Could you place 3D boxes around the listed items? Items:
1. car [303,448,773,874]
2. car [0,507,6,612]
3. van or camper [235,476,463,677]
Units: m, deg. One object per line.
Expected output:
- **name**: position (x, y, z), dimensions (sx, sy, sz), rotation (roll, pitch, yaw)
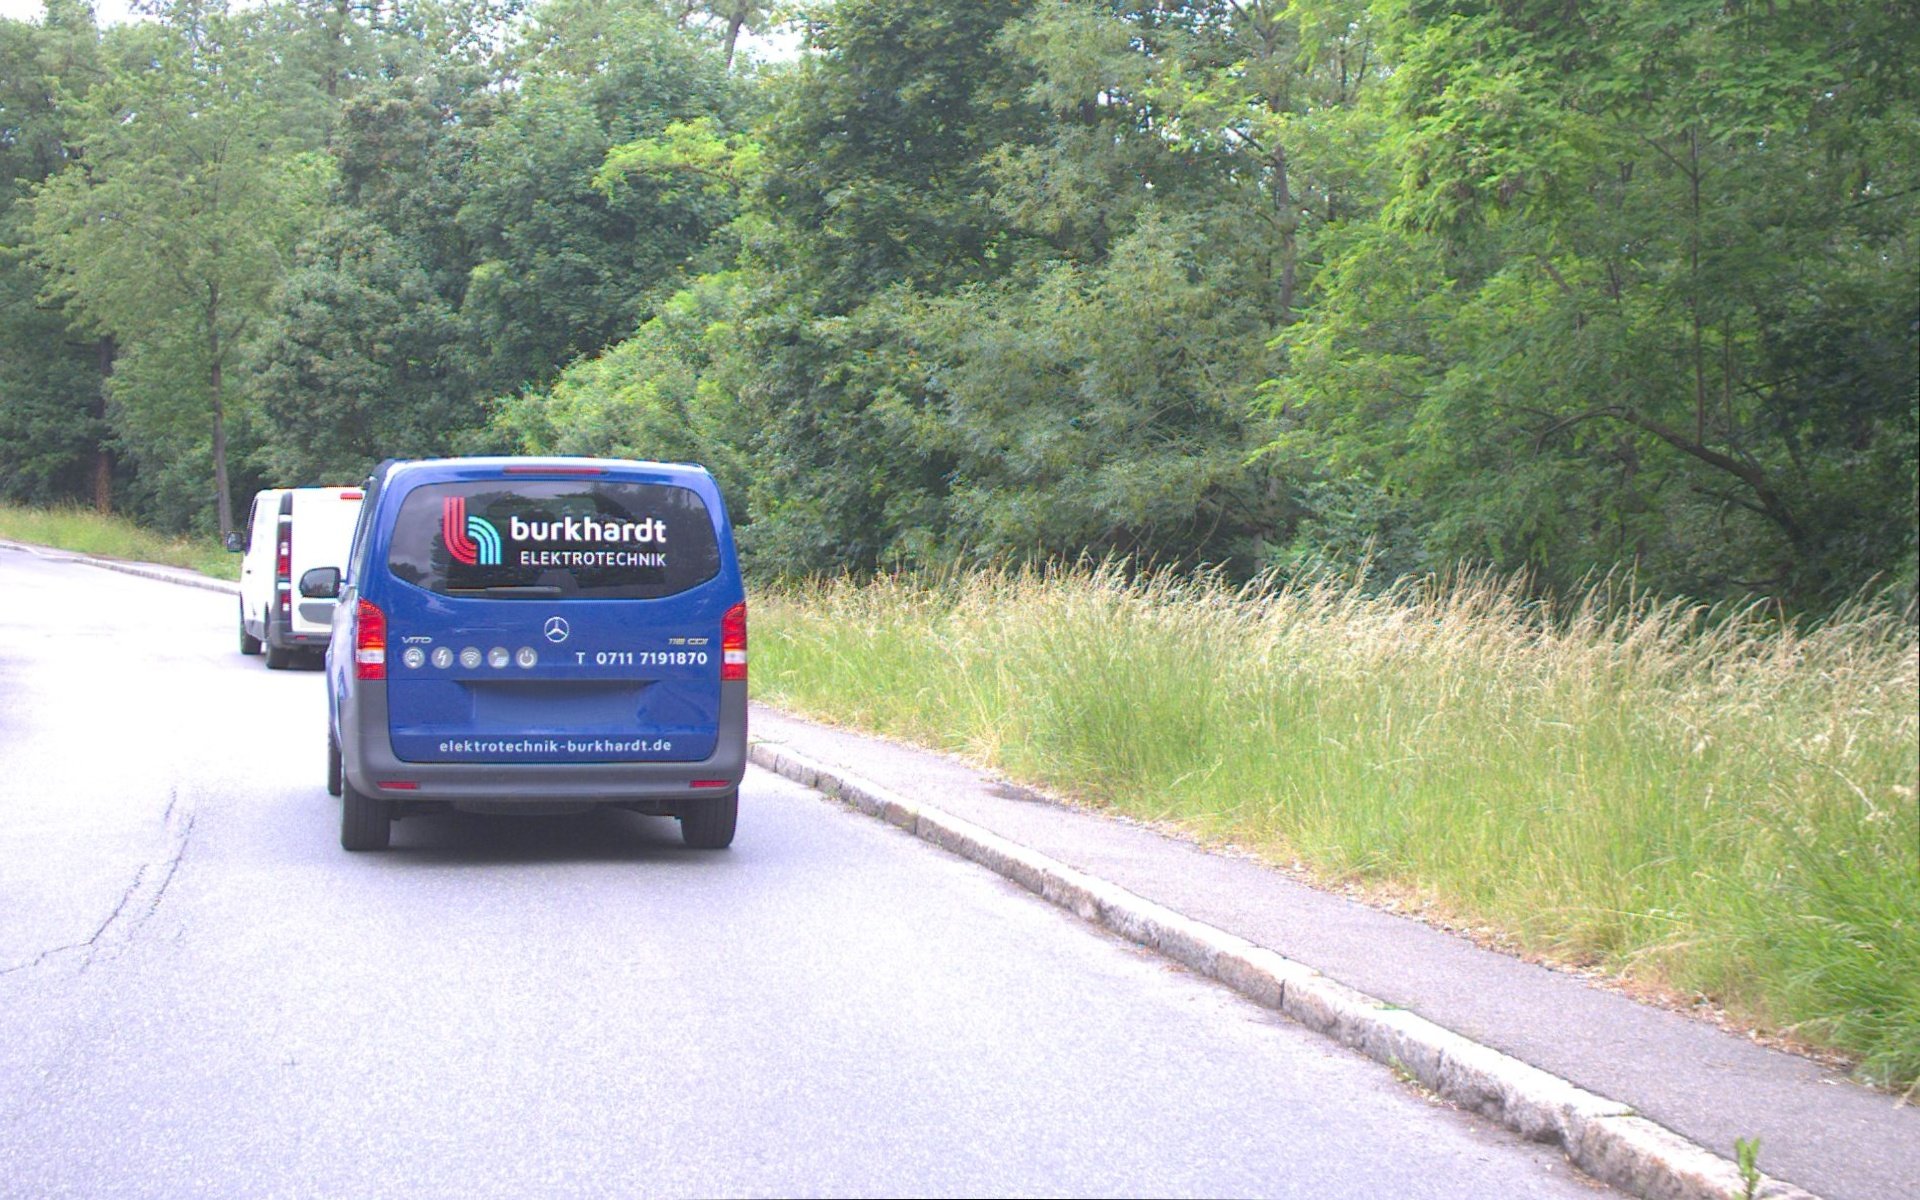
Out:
- **car**: position (-2.275, 0.193, 17.467), dimensions (1.913, 1.831, 4.296), rotation (1, 3, -13)
- **car**: position (-10.814, -0.276, 35.505), dimensions (1.761, 1.475, 4.129), rotation (3, 1, -15)
- **van or camper**: position (-6.762, -0.318, 37.662), dimensions (2.019, 1.950, 4.898), rotation (2, 2, -15)
